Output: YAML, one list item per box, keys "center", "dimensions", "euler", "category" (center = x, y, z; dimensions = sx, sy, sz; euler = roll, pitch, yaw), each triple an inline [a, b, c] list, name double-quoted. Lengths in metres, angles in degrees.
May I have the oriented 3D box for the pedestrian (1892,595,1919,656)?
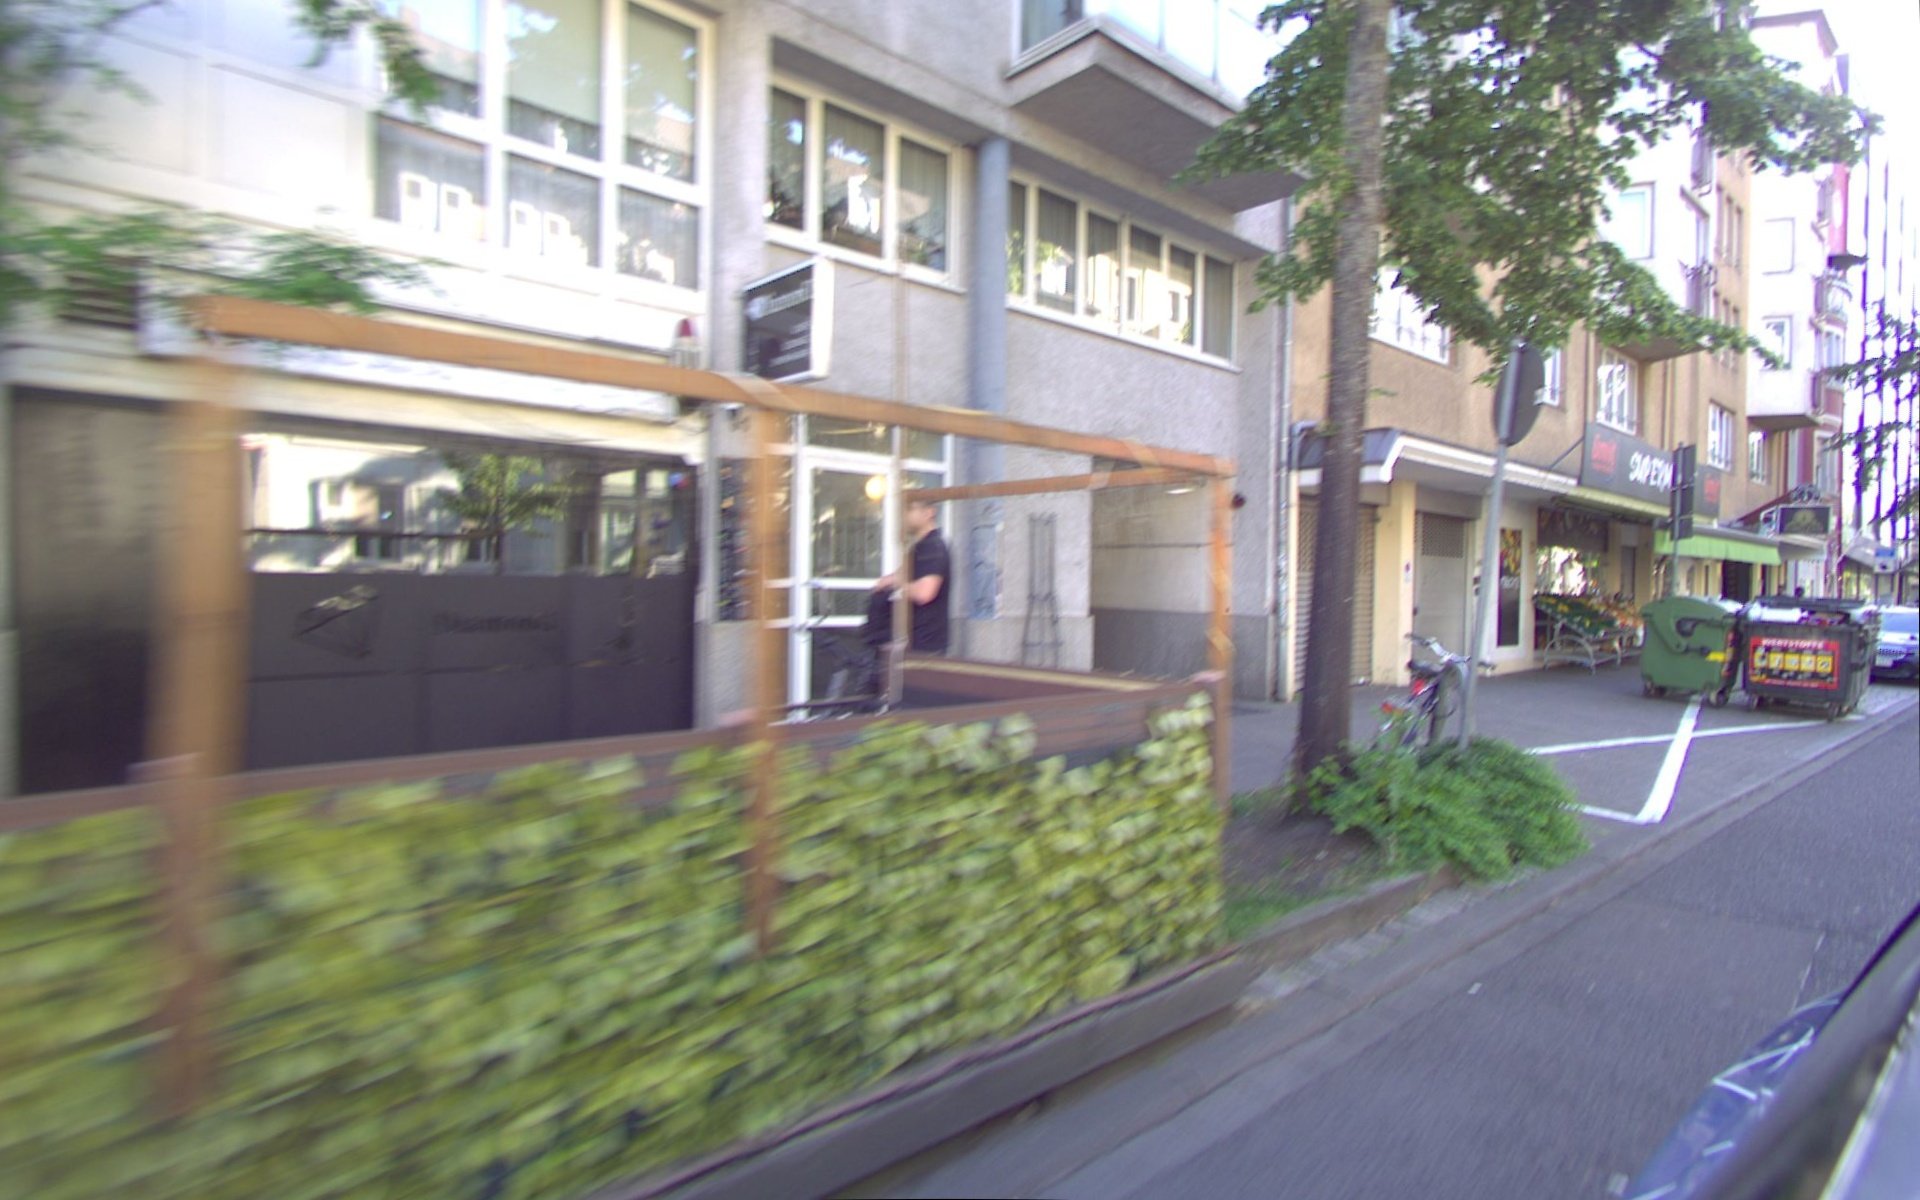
- center: [25.031, 0.663, 26.445]
  dimensions: [0.753, 1.555, 0.715]
  euler: [1, 1, -26]
  category: "pedestrian"

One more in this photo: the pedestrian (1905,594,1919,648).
- center: [28.127, 0.616, 29.224]
  dimensions: [0.875, 1.555, 1.059]
  euler: [0, 2, -37]
  category: "pedestrian"

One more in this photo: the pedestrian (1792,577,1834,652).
- center: [20.041, 0.322, 23.777]
  dimensions: [0.749, 1.716, 0.617]
  euler: [0, 2, -42]
  category: "pedestrian"

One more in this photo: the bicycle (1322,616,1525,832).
- center: [3.183, 0.738, 6.832]
  dimensions: [0.607, 1.133, 2.026]
  euler: [11, 7, 39]
  category: "bicycle"

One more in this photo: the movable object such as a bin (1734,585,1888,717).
- center: [11.010, 0.609, 13.106]
  dimensions: [1.126, 1.561, 1.333]
  euler: [1, 2, -41]
  category: "movable object such as a bin"

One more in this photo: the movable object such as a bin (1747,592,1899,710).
- center: [11.835, 0.649, 13.900]
  dimensions: [1.126, 1.472, 1.402]
  euler: [0, 2, -41]
  category: "movable object such as a bin"

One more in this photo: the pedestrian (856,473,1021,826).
- center: [-0.160, 0.269, 6.172]
  dimensions: [0.745, 1.960, 0.930]
  euler: [1, 1, -16]
  category: "pedestrian"

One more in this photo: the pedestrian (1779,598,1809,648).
- center: [19.840, 0.541, 24.071]
  dimensions: [0.492, 1.177, 0.444]
  euler: [0, 2, -39]
  category: "pedestrian"

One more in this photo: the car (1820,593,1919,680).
- center: [18.941, 0.678, 20.291]
  dimensions: [4.826, 1.489, 1.826]
  euler: [0, 4, -41]
  category: "car"

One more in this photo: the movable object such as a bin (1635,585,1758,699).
- center: [10.124, 0.536, 13.917]
  dimensions: [1.272, 1.449, 1.079]
  euler: [0, 2, -41]
  category: "movable object such as a bin"

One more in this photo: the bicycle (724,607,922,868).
- center: [-0.688, 0.654, 5.645]
  dimensions: [0.670, 1.163, 1.682]
  euler: [2, 1, 7]
  category: "bicycle"

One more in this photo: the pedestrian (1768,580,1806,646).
- center: [22.015, 0.324, 26.953]
  dimensions: [0.624, 1.716, 0.499]
  euler: [2, 1, 26]
  category: "pedestrian"

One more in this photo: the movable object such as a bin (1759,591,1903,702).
- center: [12.647, 0.630, 14.710]
  dimensions: [1.126, 1.472, 1.402]
  euler: [0, 2, -41]
  category: "movable object such as a bin"
